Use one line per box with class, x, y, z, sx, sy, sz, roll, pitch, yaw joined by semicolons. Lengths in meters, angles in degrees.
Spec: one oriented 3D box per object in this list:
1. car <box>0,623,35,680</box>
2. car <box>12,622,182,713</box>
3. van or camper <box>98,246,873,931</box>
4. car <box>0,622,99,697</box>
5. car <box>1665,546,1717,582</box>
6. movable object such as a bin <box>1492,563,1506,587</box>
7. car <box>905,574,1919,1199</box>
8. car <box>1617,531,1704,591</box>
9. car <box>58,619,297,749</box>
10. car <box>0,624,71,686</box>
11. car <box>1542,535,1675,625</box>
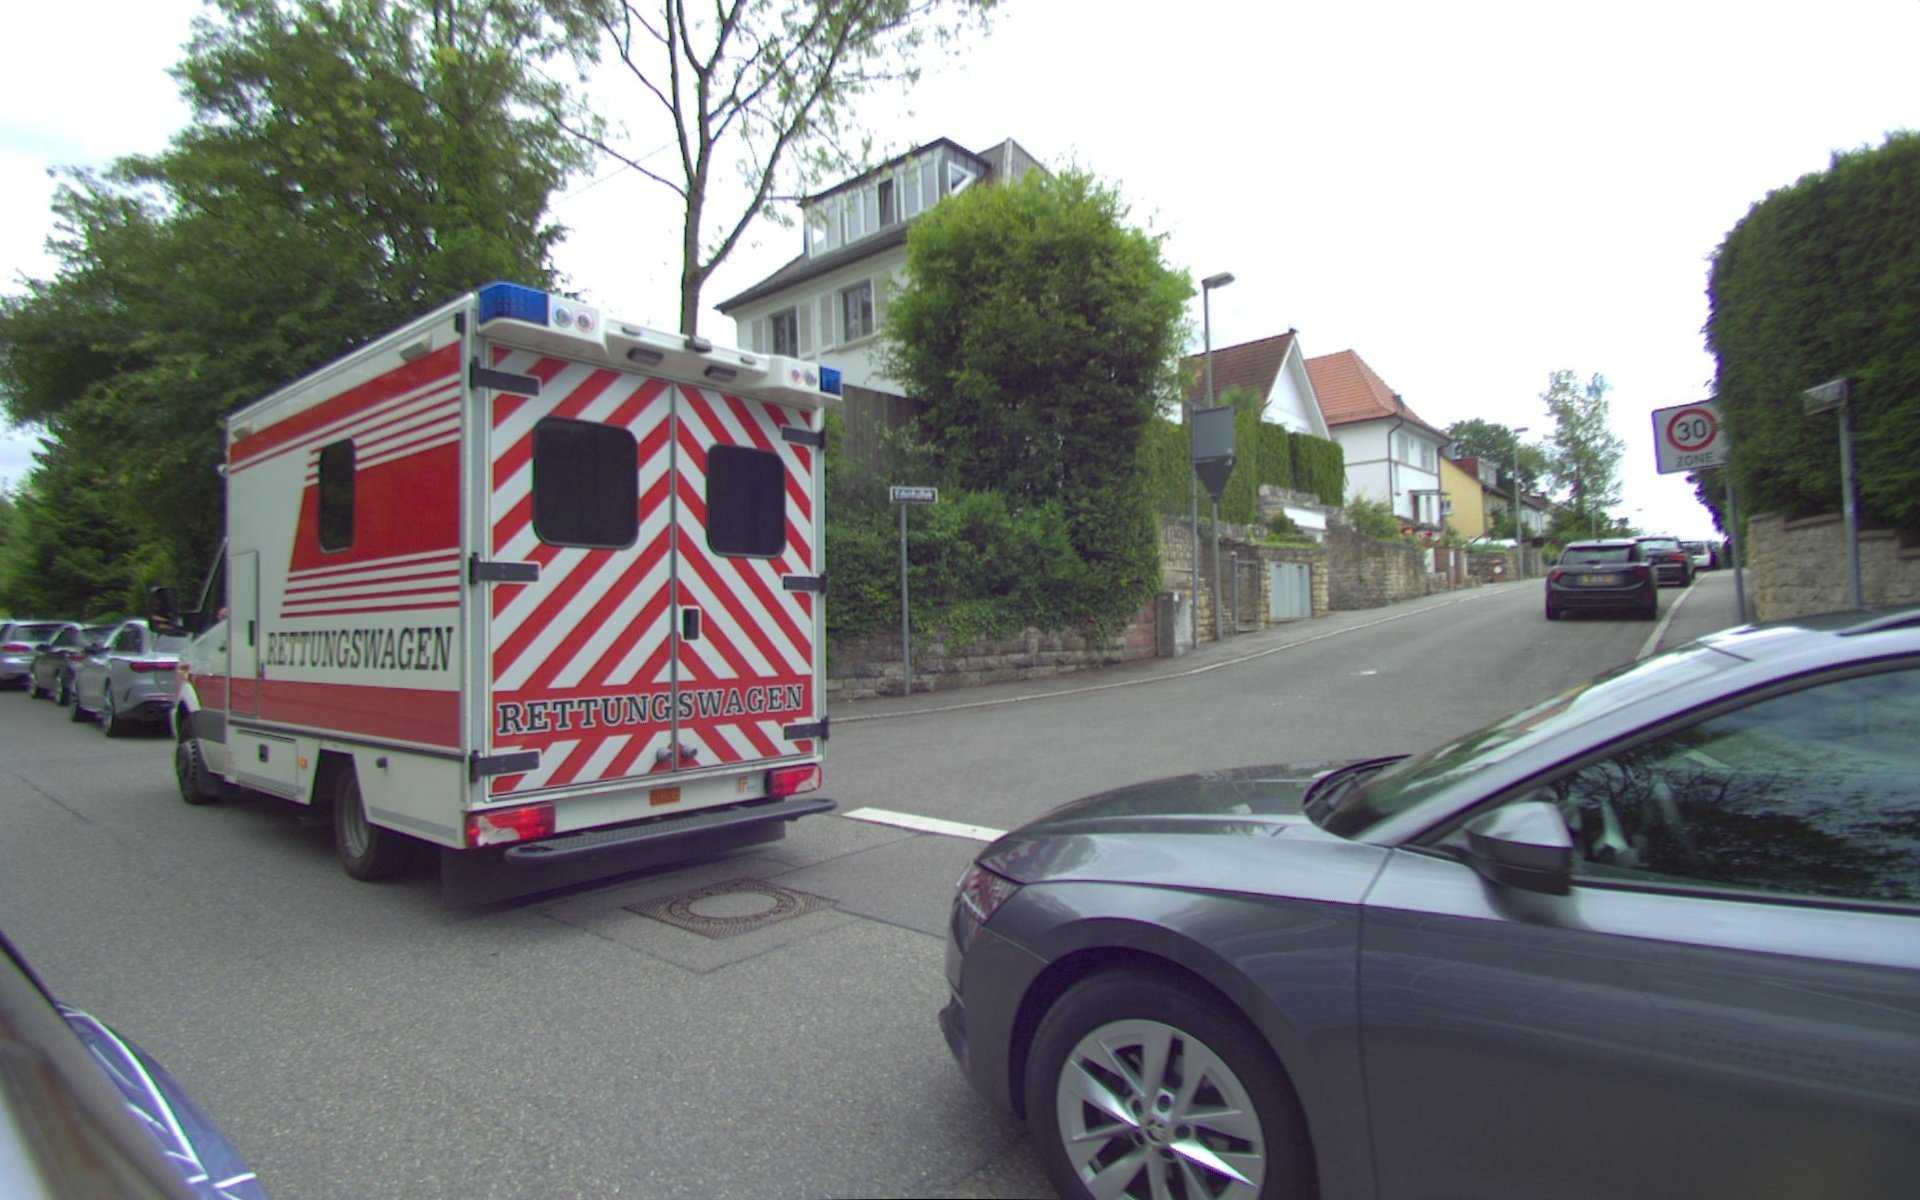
car;-28.430;1.453;29.109;4.597;1.574;1.898;-2;-3;38
car;-16.180;1.193;18.916;4.056;1.516;1.703;-1;-3;40
van or camper;-4.052;0.021;7.550;7.161;2.917;2.431;-1;-2;40
car;-20.479;1.258;22.259;4.005;1.516;1.703;-1;-3;40
car;33.749;-1.682;46.693;1.738;1.484;3.949;-1;3;38
movable object such as a bin;21.960;-1.016;41.228;0.454;0.941;0.413;-2;-2;36
car;2.162;0.694;1.858;4.466;1.457;1.747;-1;-2;37
car;19.622;-1.120;28.279;1.738;1.484;3.949;-1;3;38
car;-11.059;1.056;14.153;4.862;1.516;1.779;-1;-3;42
car;-24.586;1.387;26.141;3.811;1.516;1.704;-2;-3;38
car;12.501;-0.424;19.392;1.738;1.484;3.949;-1;3;38
